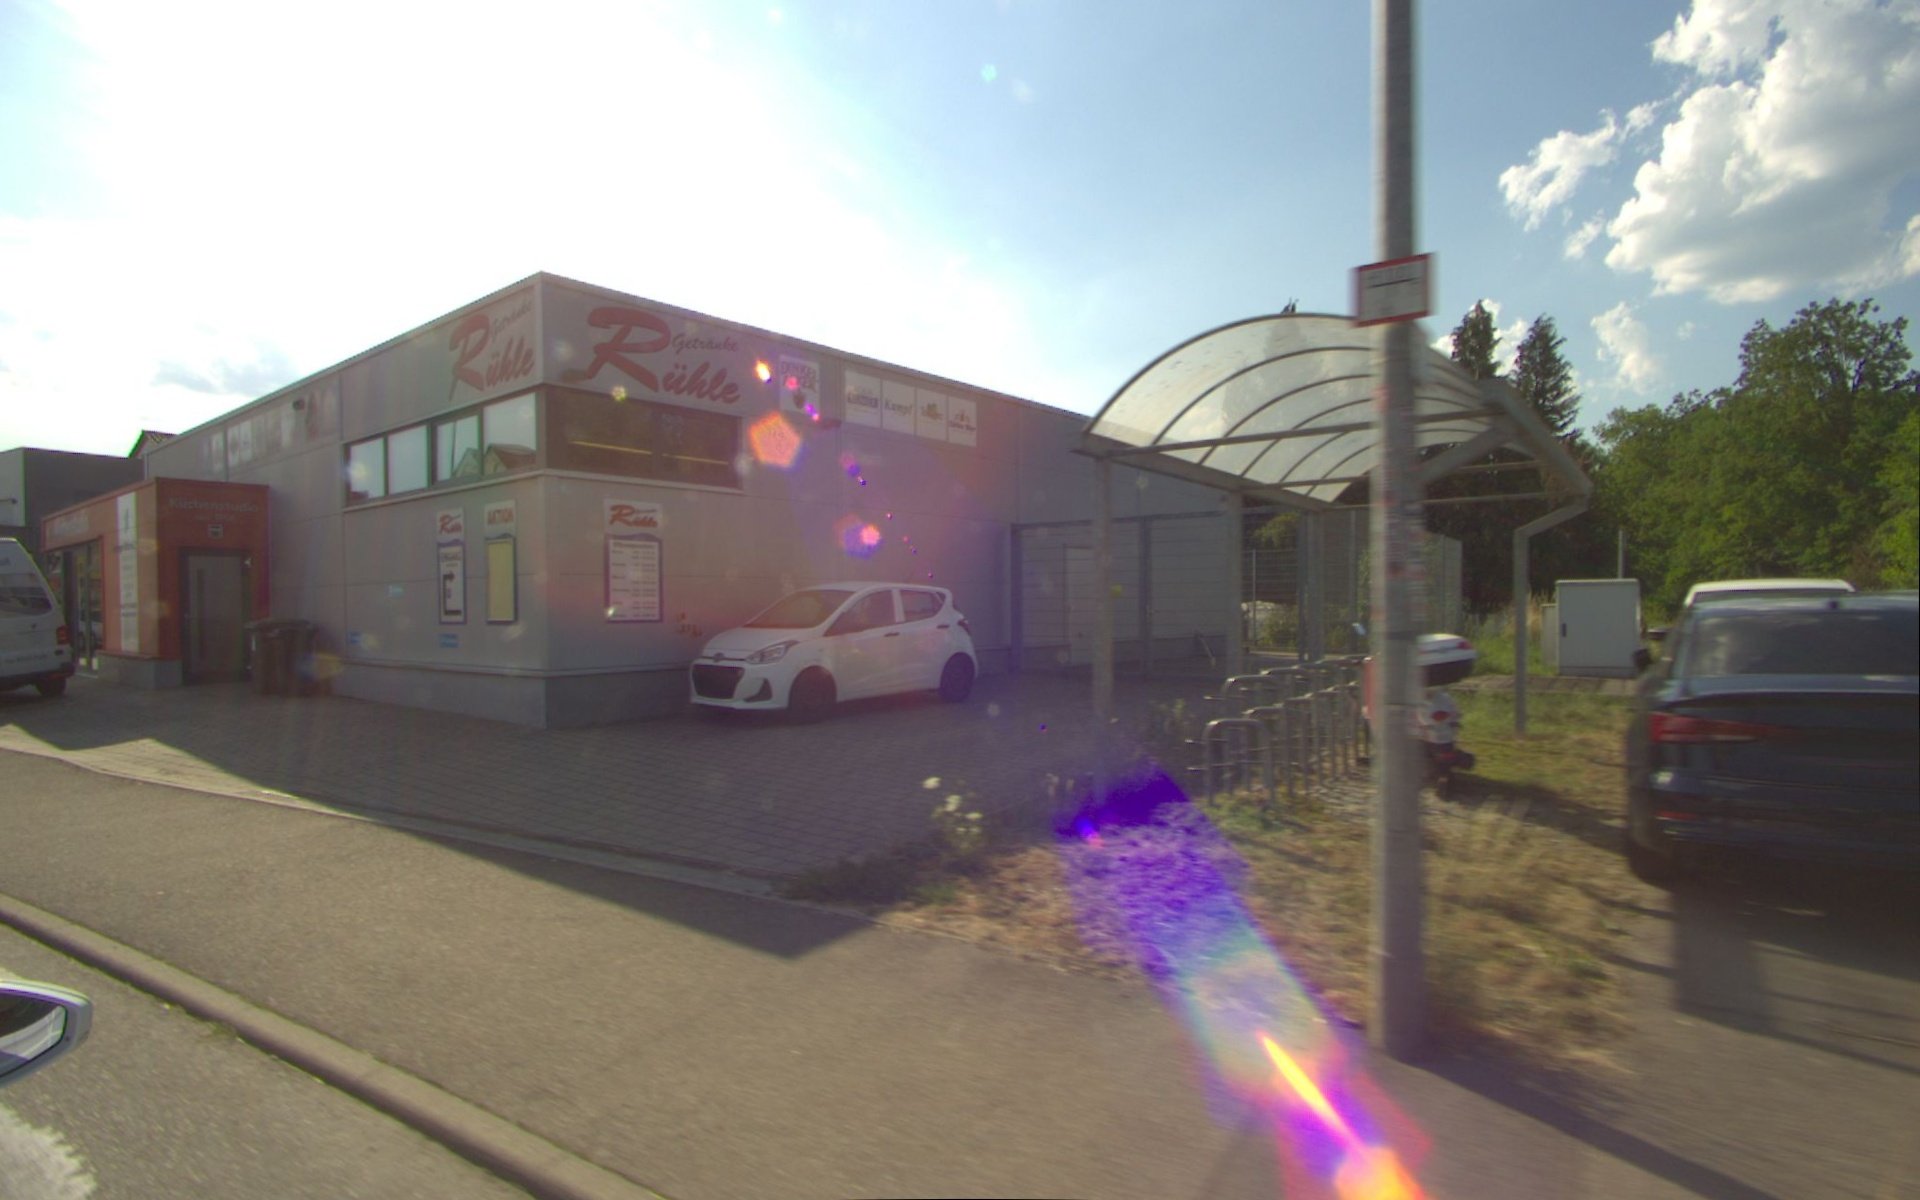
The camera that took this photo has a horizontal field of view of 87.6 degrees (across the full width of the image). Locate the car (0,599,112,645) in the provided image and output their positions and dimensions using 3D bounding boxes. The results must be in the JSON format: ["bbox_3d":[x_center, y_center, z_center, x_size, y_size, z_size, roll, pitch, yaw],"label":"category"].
[{"bbox_3d":[-31.812,0.728,34.306,1.690,1.487,3.901,2,1,28],"label":"car"}]

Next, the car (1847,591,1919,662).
[{"bbox_3d":[20.031,0.512,21.126,1.606,1.393,4.161,-1,0,36],"label":"car"}]

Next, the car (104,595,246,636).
[{"bbox_3d":[-29.721,0.538,38.023,1.690,1.427,3.901,2,1,28],"label":"car"}]

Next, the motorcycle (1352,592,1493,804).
[{"bbox_3d":[3.375,0.634,7.457,0.629,1.342,1.828,0,2,15],"label":"motorcycle"}]

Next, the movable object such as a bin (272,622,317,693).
[{"bbox_3d":[-9.457,0.808,14.238,0.425,0.979,0.427,1,1,40],"label":"movable object such as a bin"}]

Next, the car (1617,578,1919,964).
[{"bbox_3d":[4.744,0.632,5.569,1.605,1.436,4.049,-1,1,36],"label":"car"}]

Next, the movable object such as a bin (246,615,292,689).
[{"bbox_3d":[-10.069,0.746,14.589,0.484,1.056,0.427,1,1,40],"label":"movable object such as a bin"}]

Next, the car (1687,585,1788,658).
[{"bbox_3d":[17.938,0.455,23.222,1.713,1.531,4.161,-1,0,36],"label":"car"}]

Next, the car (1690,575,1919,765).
[{"bbox_3d":[7.806,0.514,9.436,1.479,1.436,3.424,-1,1,36],"label":"car"}]

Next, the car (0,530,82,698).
[{"bbox_3d":[-16.012,0.211,15.605,5.098,2.407,1.834,0,1,29],"label":"car"}]

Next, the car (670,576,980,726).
[{"bbox_3d":[-1.456,0.471,11.838,1.481,1.477,3.537,1,2,41],"label":"car"}]
